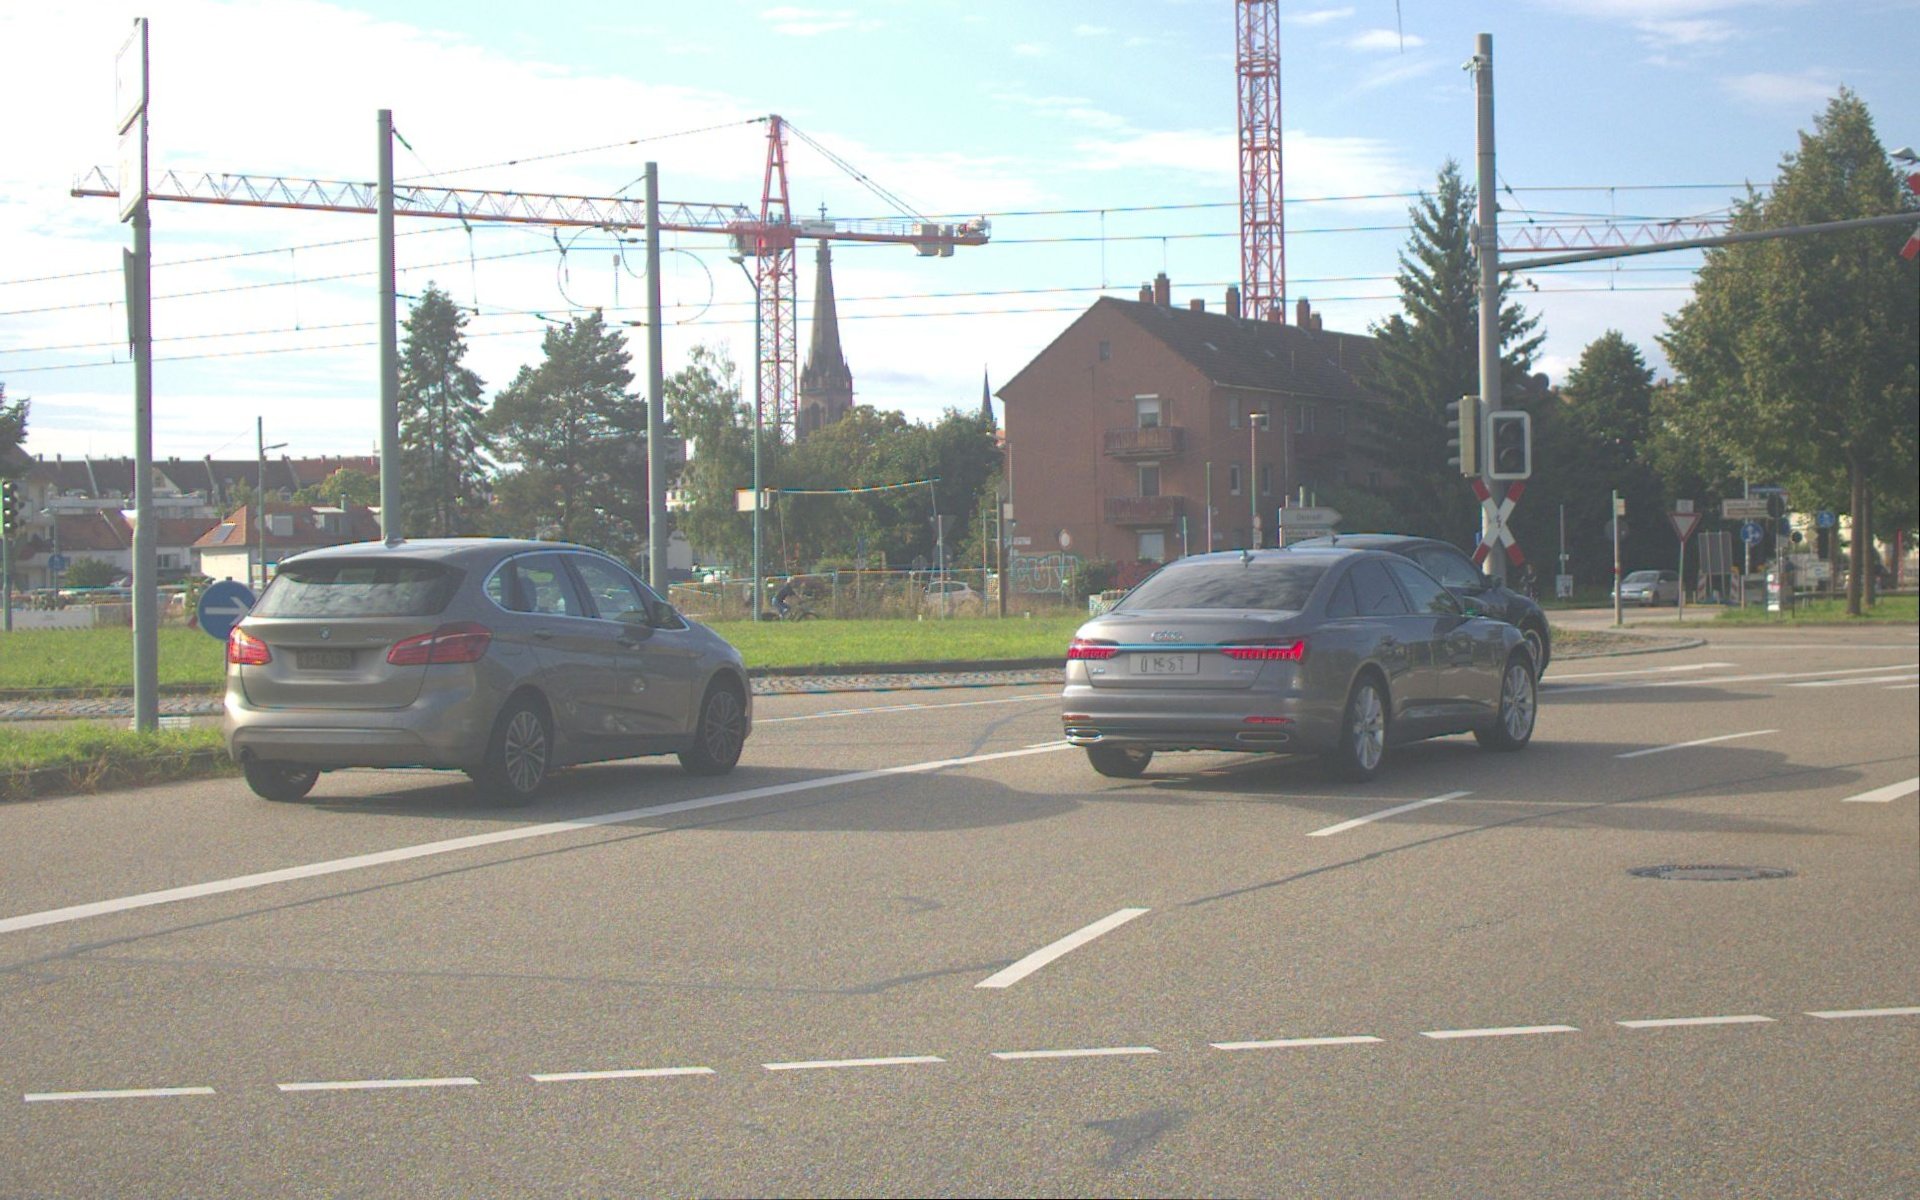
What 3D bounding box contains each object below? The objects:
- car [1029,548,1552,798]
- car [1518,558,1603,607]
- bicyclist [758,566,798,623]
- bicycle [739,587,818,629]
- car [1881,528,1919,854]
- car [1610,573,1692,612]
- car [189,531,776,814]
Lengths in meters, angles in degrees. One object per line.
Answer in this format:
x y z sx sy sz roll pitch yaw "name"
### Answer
2.332 0.398 22.931 1.853 1.440 4.708 0 1 27 "car"
23.862 -0.687 136.498 1.899 1.896 4.653 0 0 29 "car"
-5.226 -0.159 98.664 0.957 1.569 0.772 -2 0 8 "bicyclist"
-5.205 0.225 98.664 2.143 1.133 0.772 -2 0 8 "bicycle"
6.501 0.437 17.955 1.854 1.567 4.446 0 0 35 "car"
27.515 -0.308 136.810 1.899 1.538 4.653 0 0 28 "car"
-2.828 0.392 21.290 1.770 1.567 4.062 0 0 23 "car"
